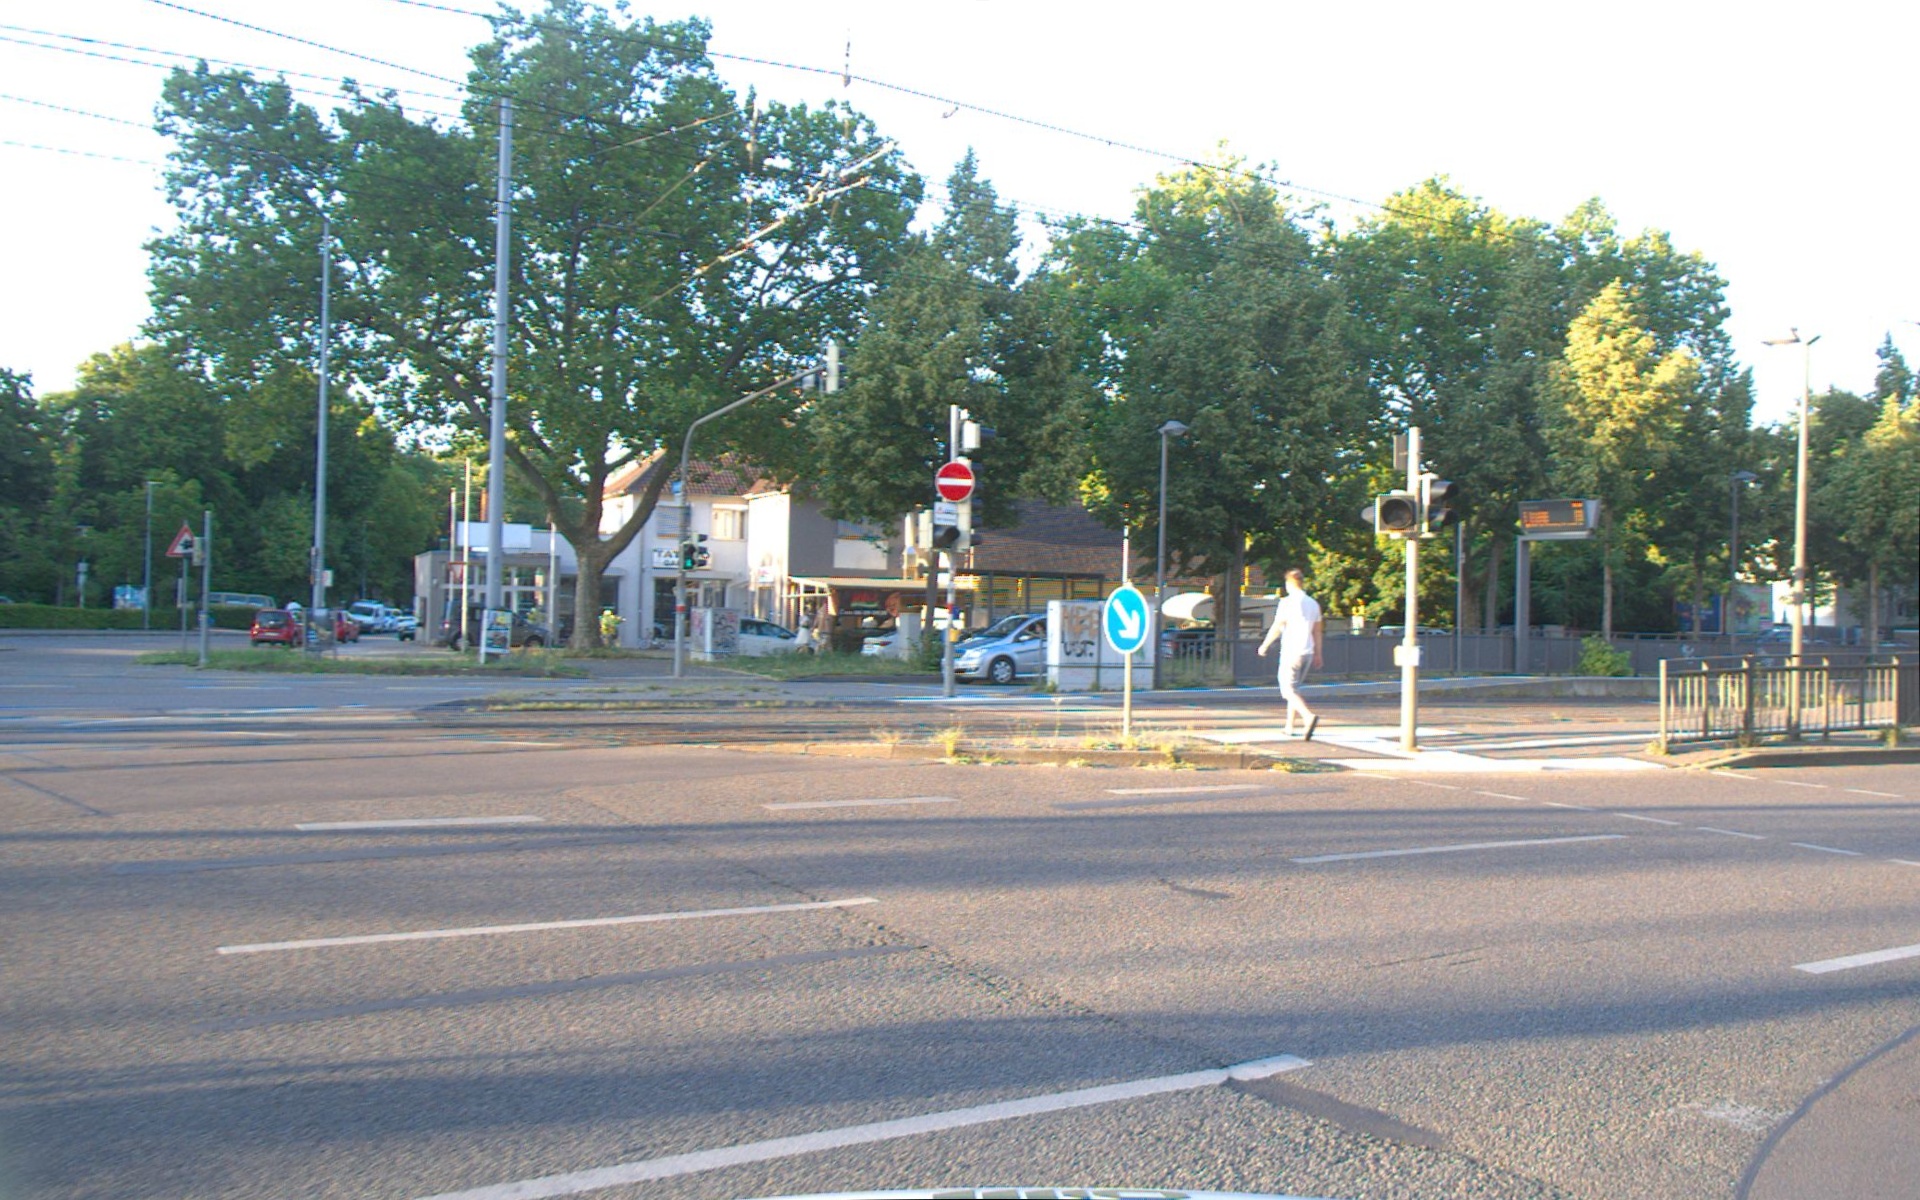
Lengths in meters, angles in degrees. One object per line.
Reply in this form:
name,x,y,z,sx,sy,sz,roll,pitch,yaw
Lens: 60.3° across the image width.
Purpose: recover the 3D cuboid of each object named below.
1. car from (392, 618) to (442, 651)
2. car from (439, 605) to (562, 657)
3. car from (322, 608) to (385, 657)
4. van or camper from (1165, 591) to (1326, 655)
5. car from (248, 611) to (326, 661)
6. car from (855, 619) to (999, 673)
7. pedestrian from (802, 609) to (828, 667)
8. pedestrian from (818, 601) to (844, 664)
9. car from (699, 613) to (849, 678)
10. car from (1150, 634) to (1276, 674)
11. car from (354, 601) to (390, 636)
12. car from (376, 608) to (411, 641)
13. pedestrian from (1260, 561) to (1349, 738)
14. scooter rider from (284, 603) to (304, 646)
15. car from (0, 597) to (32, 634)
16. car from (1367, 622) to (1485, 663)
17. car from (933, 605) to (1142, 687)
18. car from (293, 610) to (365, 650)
car,-28.410,1.779,86.603,1.880,1.631,3.990,2,-1,-10
car,-17.552,1.191,63.167,4.317,1.867,1.935,2,-1,-23
car,-27.154,1.428,74.115,1.880,2.083,3.990,2,-1,-10
van or camper,11.876,0.995,68.675,6.476,2.452,2.247,2,-2,-24
car,-26.767,1.409,65.913,1.832,1.907,3.868,2,-1,-7
car,-1.062,1.464,53.039,4.177,1.605,1.984,2,-1,-26
pedestrian,-4.261,1.113,48.550,0.704,1.668,0.897,1,-1,-4
pedestrian,-3.713,0.925,47.645,0.704,1.785,0.897,1,-1,-4
car,-5.733,1.391,50.947,4.177,1.879,1.984,2,-1,-26
car,9.141,1.960,59.722,4.177,1.323,1.911,2,-1,-26
car,-35.837,1.121,100.819,1.965,2.049,3.976,2,-1,-20
car,-36.252,1.558,105.729,1.965,2.049,3.976,2,-1,-20
pedestrian,3.679,0.526,17.705,0.745,1.822,0.802,2,-1,2
scooter rider,-29.700,1.100,73.783,0.694,1.887,0.663,2,-2,-28
car,-43.057,0.632,72.551,3.939,1.588,1.983,2,-1,-27
car,18.089,1.642,64.193,4.177,1.490,1.984,2,-1,-26
car,1.786,1.058,37.493,4.490,1.758,1.841,2,-1,-32
car,-26.682,1.265,70.072,1.956,1.601,3.993,2,-1,-8
